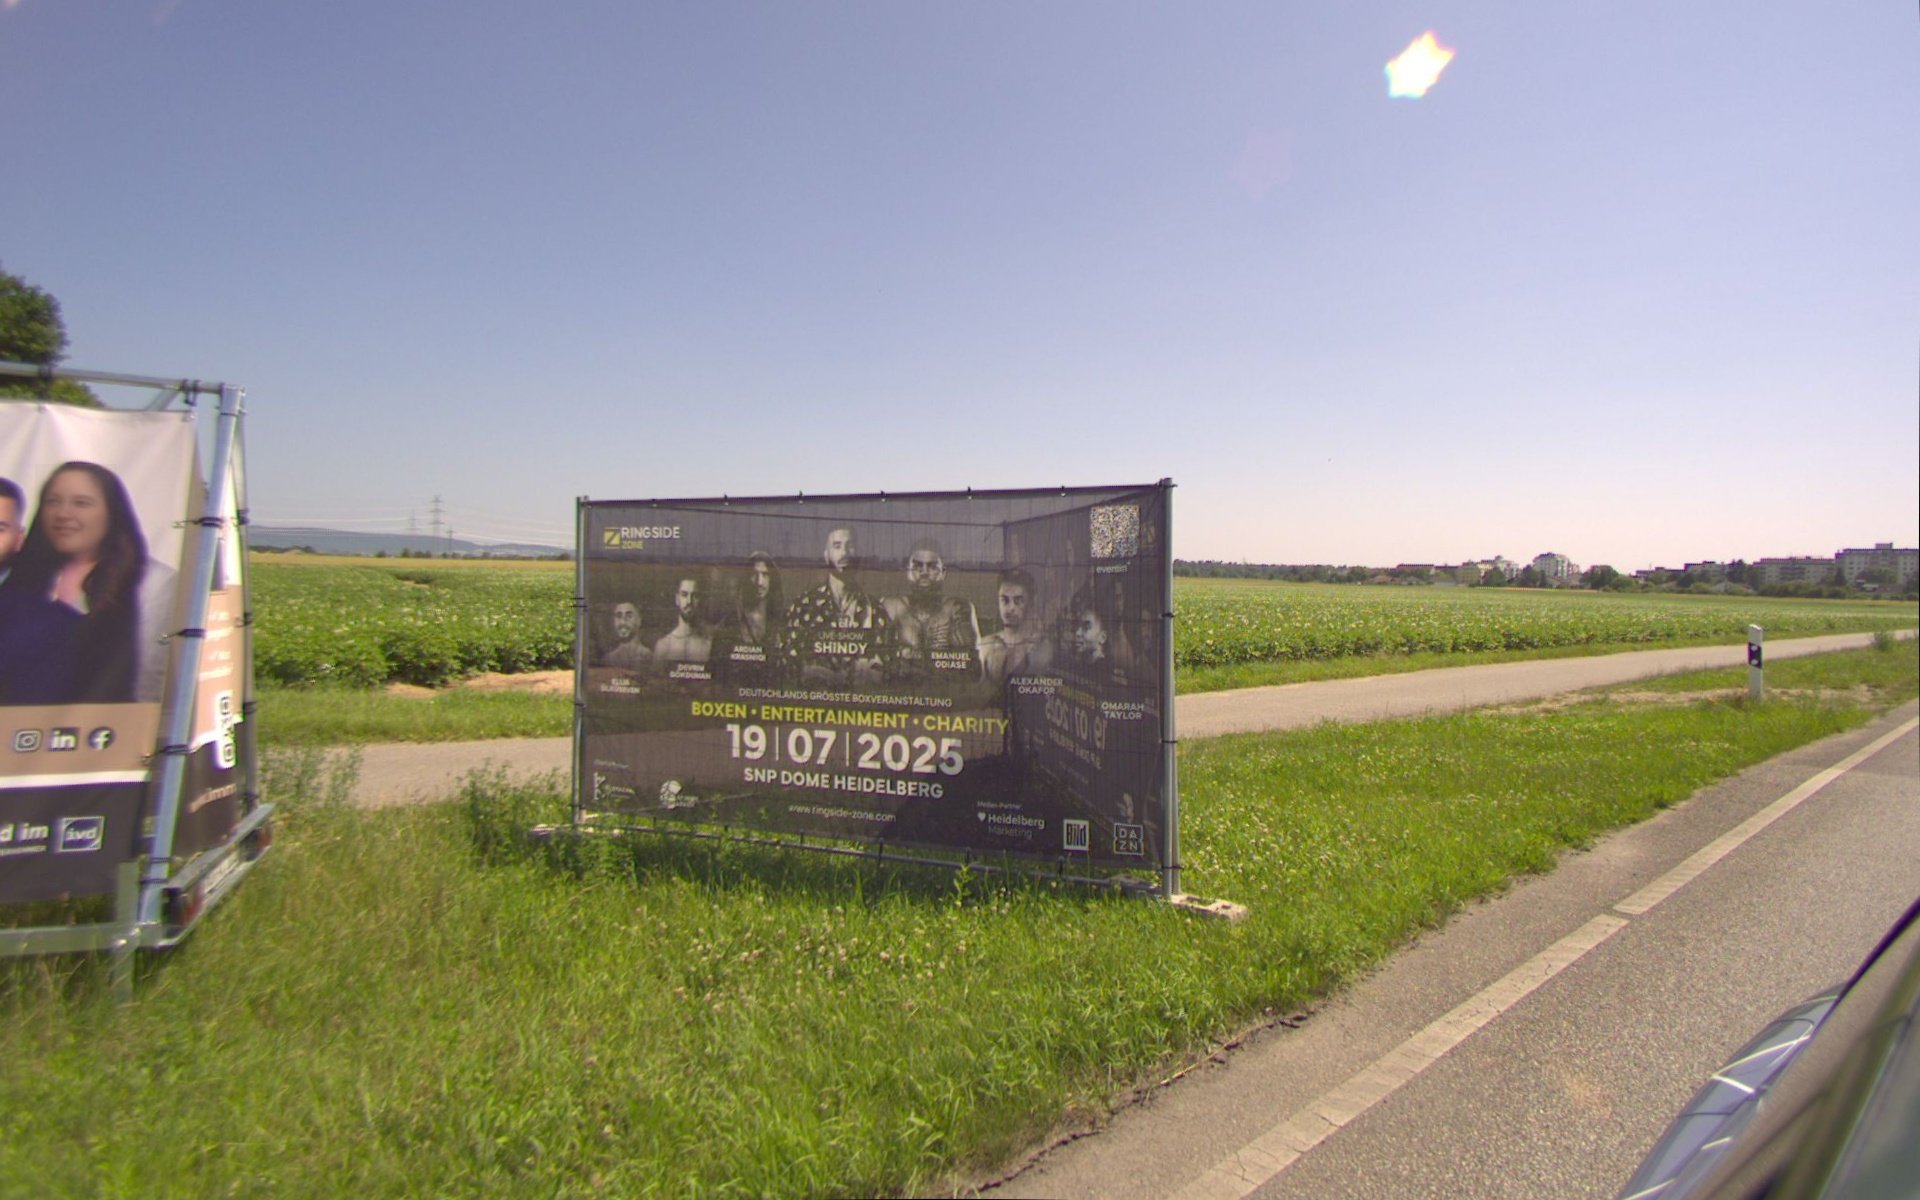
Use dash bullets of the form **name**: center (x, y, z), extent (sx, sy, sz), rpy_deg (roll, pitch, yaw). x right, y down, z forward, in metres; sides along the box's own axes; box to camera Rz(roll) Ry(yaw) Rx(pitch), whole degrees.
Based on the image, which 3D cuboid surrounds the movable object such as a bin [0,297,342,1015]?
- **movable object such as a bin**: center (-4.810, 0.194, 3.529), extent (4.332, 2.392, 1.529), rpy_deg (-1, 0, -23)
